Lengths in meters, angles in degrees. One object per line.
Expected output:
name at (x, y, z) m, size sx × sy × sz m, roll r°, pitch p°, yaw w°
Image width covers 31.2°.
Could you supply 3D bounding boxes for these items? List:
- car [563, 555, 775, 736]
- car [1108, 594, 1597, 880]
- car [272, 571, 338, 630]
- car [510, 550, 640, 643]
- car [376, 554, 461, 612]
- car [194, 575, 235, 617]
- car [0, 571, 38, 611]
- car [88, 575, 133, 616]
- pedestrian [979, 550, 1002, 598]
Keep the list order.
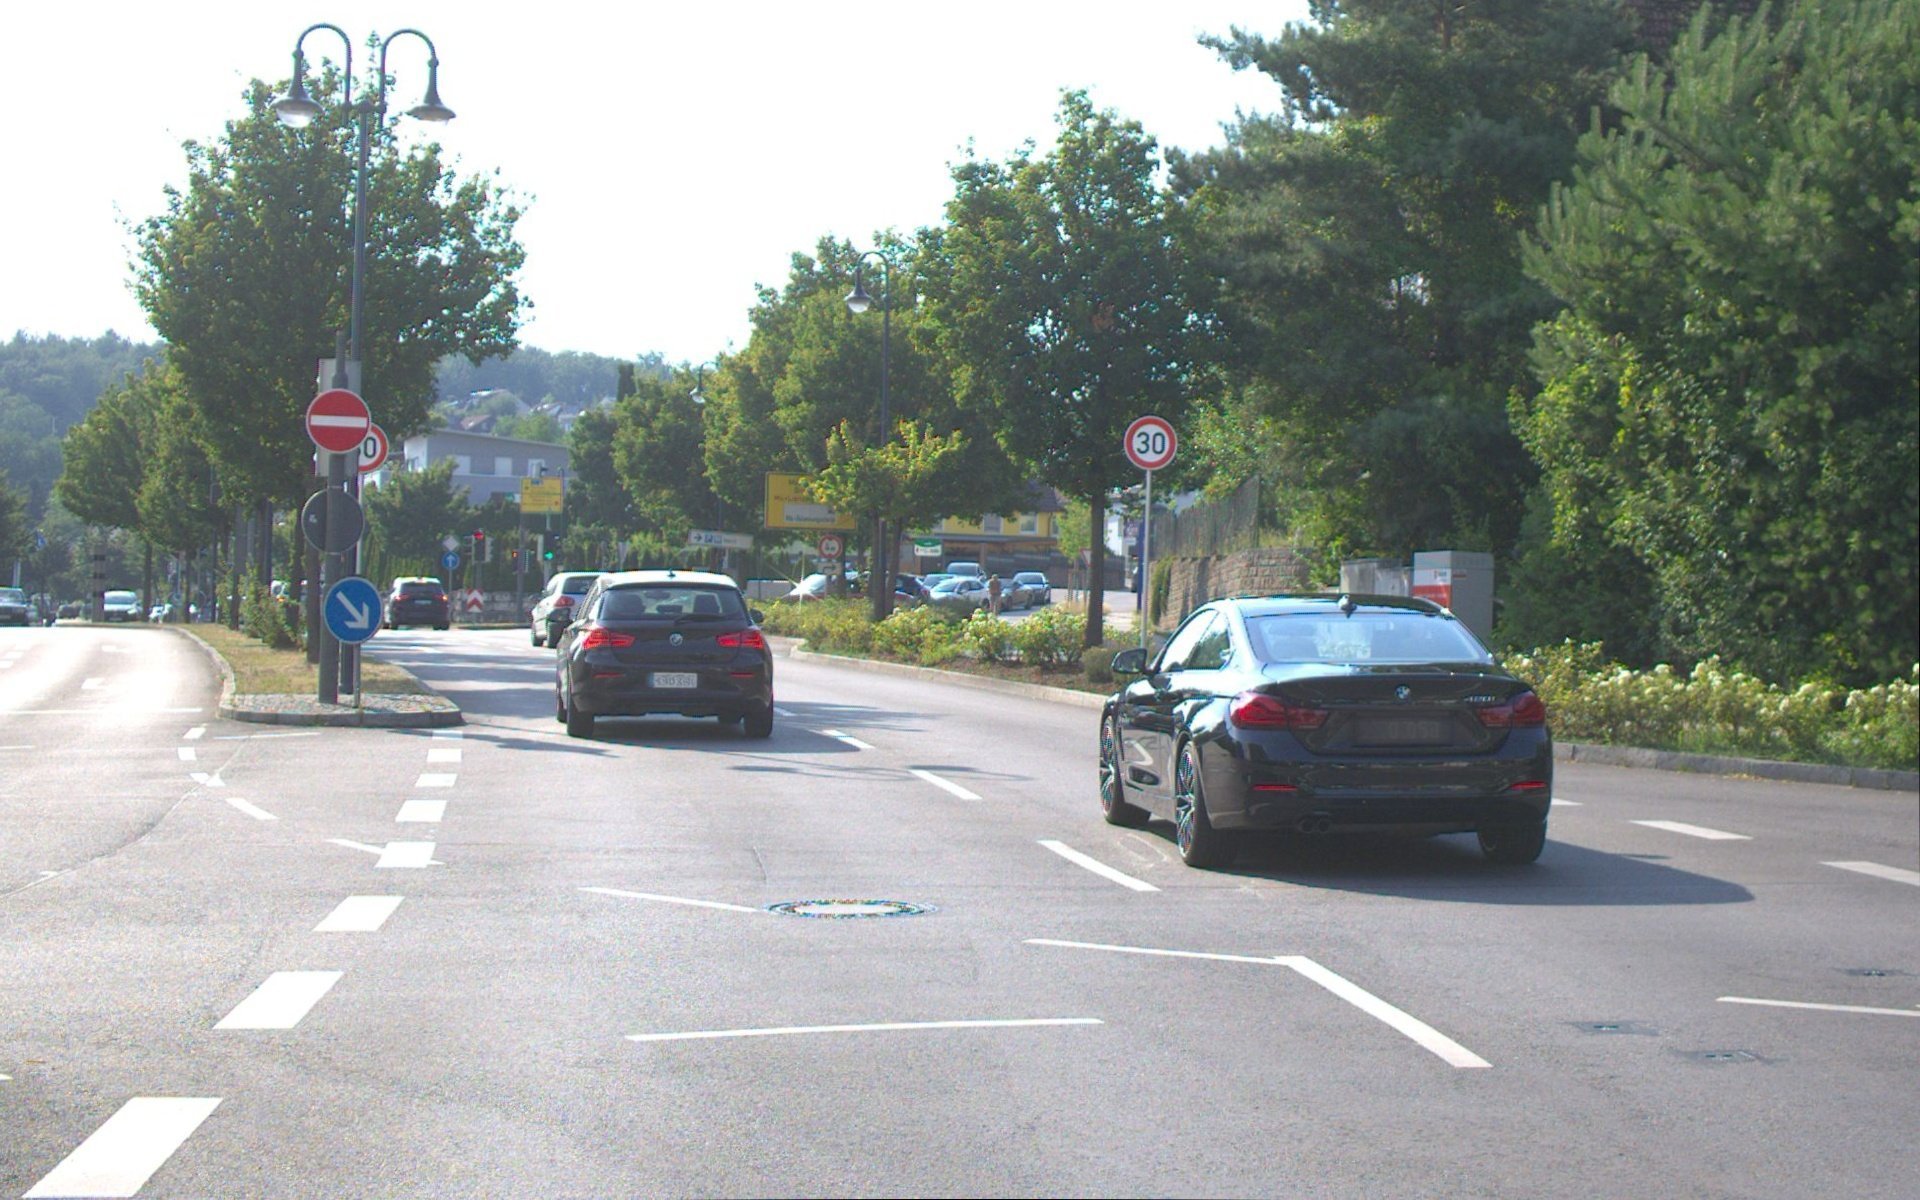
car at (-2.674, 0.364, 30.880) m, size 1.720 × 1.485 × 4.354 m, roll 1°, pitch 0°, yaw -7°
car at (1.988, 0.660, 18.725) m, size 1.920 × 1.359 × 4.353 m, roll 0°, pitch 0°, yaw -3°
car at (-20.178, -0.009, 105.778) m, size 1.755 × 1.763 × 3.972 m, roll 0°, pitch 0°, yaw -14°
car at (-7.582, -0.087, 67.323) m, size 1.924 × 1.763 × 4.455 m, roll 0°, pitch 0°, yaw -14°
car at (-17.073, -0.539, 108.275) m, size 2.216 × 1.763 × 4.455 m, roll 0°, pitch 0°, yaw -14°
car at (-36.392, -0.202, 167.937) m, size 1.772 × 2.007 × 4.001 m, roll 1°, pitch 1°, yaw -10°
car at (-33.206, -0.322, 120.173) m, size 1.755 × 1.356 × 4.486 m, roll 0°, pitch 0°, yaw -13°
car at (-35.775, -0.211, 144.872) m, size 1.729 × 1.673 × 4.001 m, roll 0°, pitch 0°, yaw -12°
pedestrian at (1.060, -0.915, 120.797) m, size 0.695 × 1.697 × 0.950 m, roll 1°, pitch 0°, yaw -6°
